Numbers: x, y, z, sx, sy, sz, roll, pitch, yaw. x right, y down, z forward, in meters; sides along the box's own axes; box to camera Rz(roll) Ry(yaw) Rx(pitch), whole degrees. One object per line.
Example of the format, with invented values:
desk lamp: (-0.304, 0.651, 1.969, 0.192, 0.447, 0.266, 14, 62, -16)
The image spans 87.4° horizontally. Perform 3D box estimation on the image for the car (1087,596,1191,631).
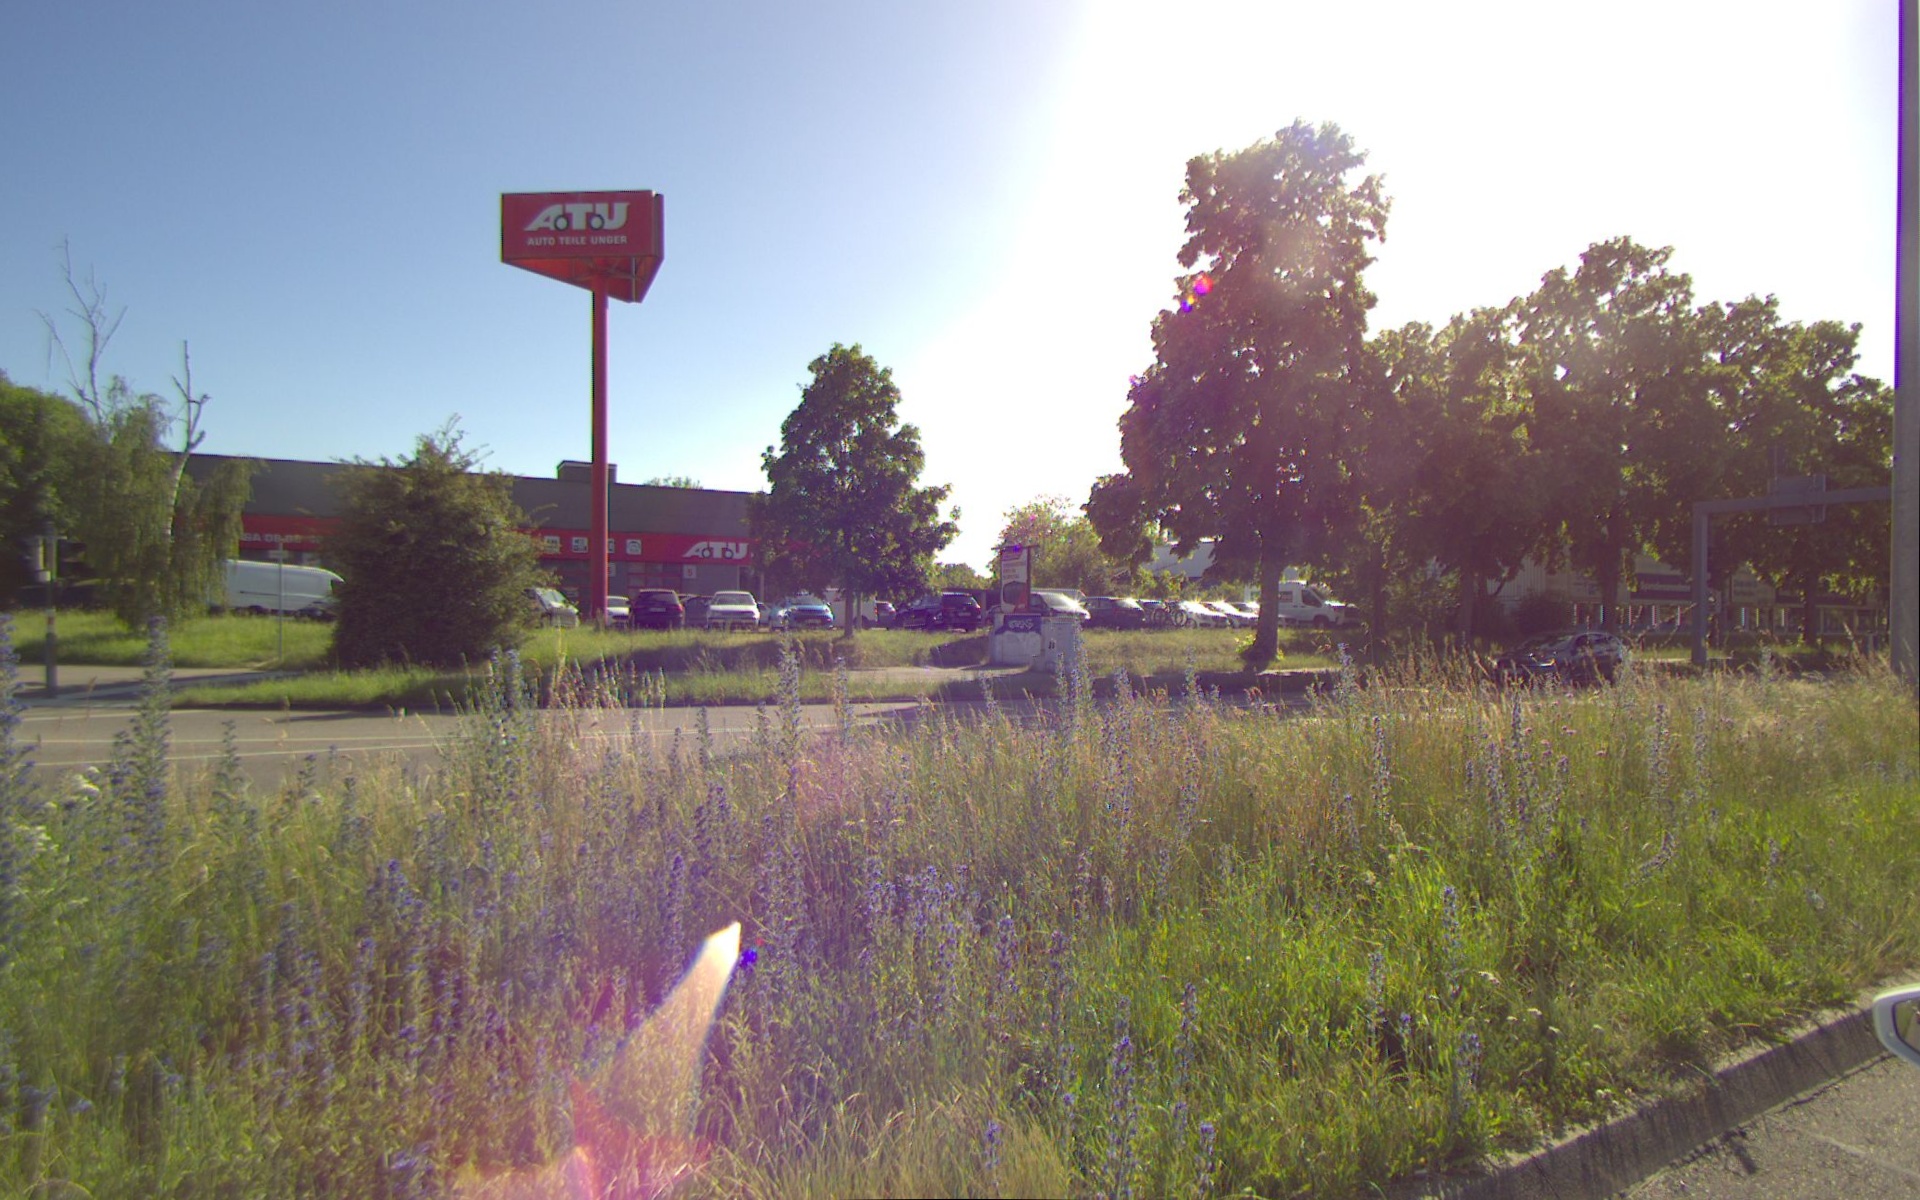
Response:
car: (7.534, 0.575, 42.630, 1.923, 1.407, 4.600, 1, -1, -29)

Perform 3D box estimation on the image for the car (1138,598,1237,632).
car: (9.918, 0.664, 44.002, 1.925, 1.407, 4.095, 1, -1, -32)

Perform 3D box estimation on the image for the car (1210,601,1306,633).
car: (13.971, 0.797, 47.216, 1.925, 1.407, 4.095, 1, -1, -32)

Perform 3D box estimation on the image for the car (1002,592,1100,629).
car: (3.605, 0.457, 40.375, 1.924, 1.407, 4.098, 1, -1, -30)

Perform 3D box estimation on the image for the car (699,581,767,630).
car: (-7.822, 0.213, 34.363, 1.866, 1.572, 4.115, 1, -1, -18)

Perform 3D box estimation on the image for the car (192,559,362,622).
car: (-25.606, -0.284, 37.878, 1.861, 2.180, 5.039, 0, -1, 28)

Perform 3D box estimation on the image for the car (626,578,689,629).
car: (-10.086, 0.143, 33.540, 1.865, 1.572, 4.117, 1, -1, -17)

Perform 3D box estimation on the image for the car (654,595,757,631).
car: (-10.789, 0.569, 42.602, 3.935, 1.474, 1.772, 1, -1, -29)

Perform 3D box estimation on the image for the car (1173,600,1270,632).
car: (11.856, 0.728, 45.712, 1.925, 1.407, 4.095, 1, -1, -32)

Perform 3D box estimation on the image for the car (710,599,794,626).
car: (-11.552, 0.722, 55.856, 4.234, 1.474, 1.881, 1, -1, -29)

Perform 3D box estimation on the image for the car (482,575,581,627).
car: (-13.803, 0.072, 32.621, 1.860, 1.572, 4.127, 0, -1, -7)

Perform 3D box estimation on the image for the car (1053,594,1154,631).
car: (5.793, 0.524, 41.103, 1.925, 1.407, 4.095, 1, -1, -32)

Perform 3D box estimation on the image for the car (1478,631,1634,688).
car: (16.167, 1.573, 27.212, 4.330, 1.444, 1.772, 1, -3, -30)

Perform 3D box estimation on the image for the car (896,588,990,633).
car: (-0.692, 0.400, 37.122, 1.921, 1.572, 4.104, 1, -1, -26)

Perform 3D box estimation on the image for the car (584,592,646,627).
car: (-15.266, 0.443, 44.285, 1.873, 1.474, 4.099, 1, -1, -29)

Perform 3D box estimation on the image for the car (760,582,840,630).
car: (-5.703, 0.246, 35.379, 1.793, 1.572, 4.107, 1, -1, -24)

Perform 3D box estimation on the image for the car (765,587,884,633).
car: (-6.108, 0.477, 45.381, 5.062, 1.982, 1.774, 1, -1, -26)

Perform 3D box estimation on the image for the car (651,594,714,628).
car: (-12.794, 0.519, 46.136, 1.873, 1.474, 4.099, 1, -1, -29)

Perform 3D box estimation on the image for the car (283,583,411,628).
car: (-21.575, 0.223, 35.550, 1.857, 1.474, 4.133, 0, -1, 3)

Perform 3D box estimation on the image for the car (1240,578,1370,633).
car: (16.400, 0.323, 48.136, 2.183, 2.465, 5.844, 1, -1, -32)

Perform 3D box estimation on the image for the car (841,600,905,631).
car: (-4.455, 0.788, 51.015, 1.871, 1.474, 4.103, 1, -1, -27)
